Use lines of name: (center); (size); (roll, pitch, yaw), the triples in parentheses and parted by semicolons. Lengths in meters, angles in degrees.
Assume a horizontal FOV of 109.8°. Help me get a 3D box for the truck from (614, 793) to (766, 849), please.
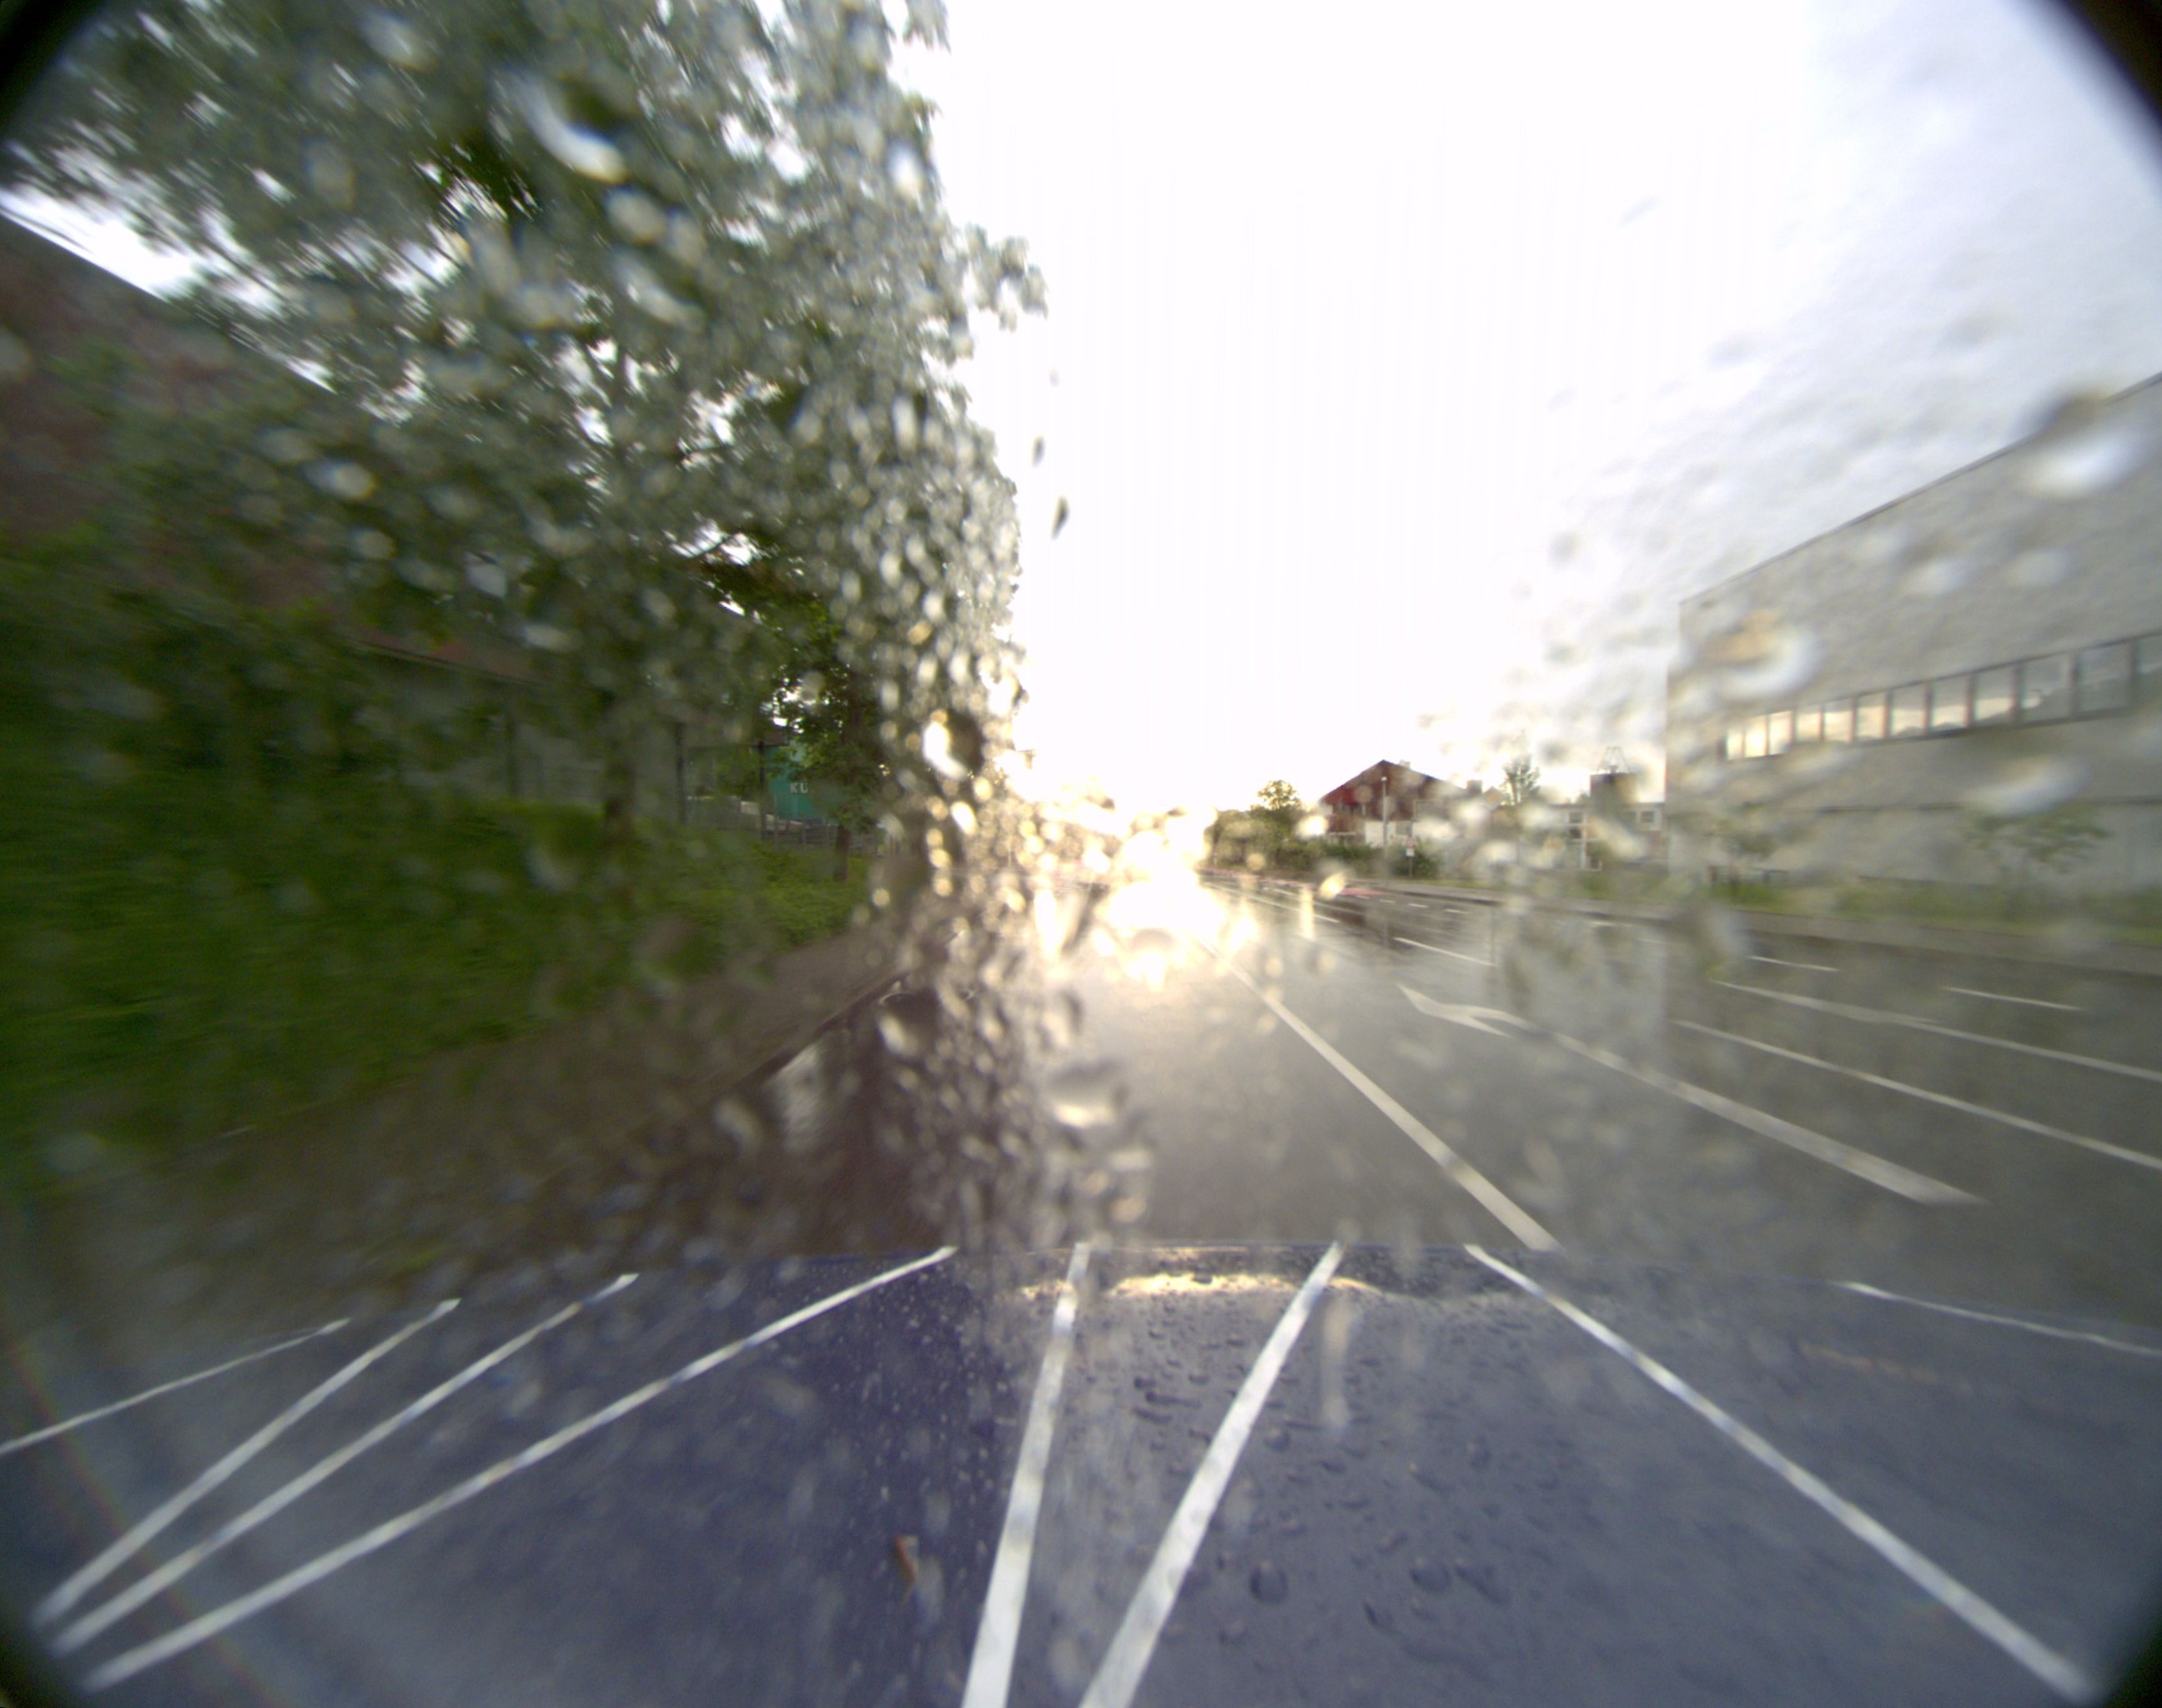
truck: (-17.416, -1.459, 34.109); (5.651, 2.201, 2.111); (2, 1, -4)

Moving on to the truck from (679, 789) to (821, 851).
truck: (-13.427, -1.358, 31.093); (4.834, 2.328, 2.249); (1, 1, -3)

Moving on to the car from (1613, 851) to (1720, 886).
car: (30.788, 0.753, 40.016); (4.448, 1.601, 1.955); (2, 1, -12)

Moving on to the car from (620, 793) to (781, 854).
car: (-14.091, -1.112, 28.361); (4.935, 2.002, 2.063); (2, 1, 0)

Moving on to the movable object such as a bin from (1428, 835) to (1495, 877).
movable object such as a bin: (24.334, 0.095, 48.666); (3.334, 2.542, 1.739); (2, 1, 8)

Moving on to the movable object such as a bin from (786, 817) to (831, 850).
movable object such as a bin: (-13.048, -0.985, 36.429); (1.859, 1.492, 1.309); (2, 1, -12)

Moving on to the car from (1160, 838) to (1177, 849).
car: (15.877, -1.882, 138.650); (2.360, 1.806, 6.875); (2, 2, 1)

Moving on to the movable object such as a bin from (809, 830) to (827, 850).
movable object such as a bin: (-10.916, -0.577, 31.518); (0.539, 0.813, 0.566); (2, 1, 2)
